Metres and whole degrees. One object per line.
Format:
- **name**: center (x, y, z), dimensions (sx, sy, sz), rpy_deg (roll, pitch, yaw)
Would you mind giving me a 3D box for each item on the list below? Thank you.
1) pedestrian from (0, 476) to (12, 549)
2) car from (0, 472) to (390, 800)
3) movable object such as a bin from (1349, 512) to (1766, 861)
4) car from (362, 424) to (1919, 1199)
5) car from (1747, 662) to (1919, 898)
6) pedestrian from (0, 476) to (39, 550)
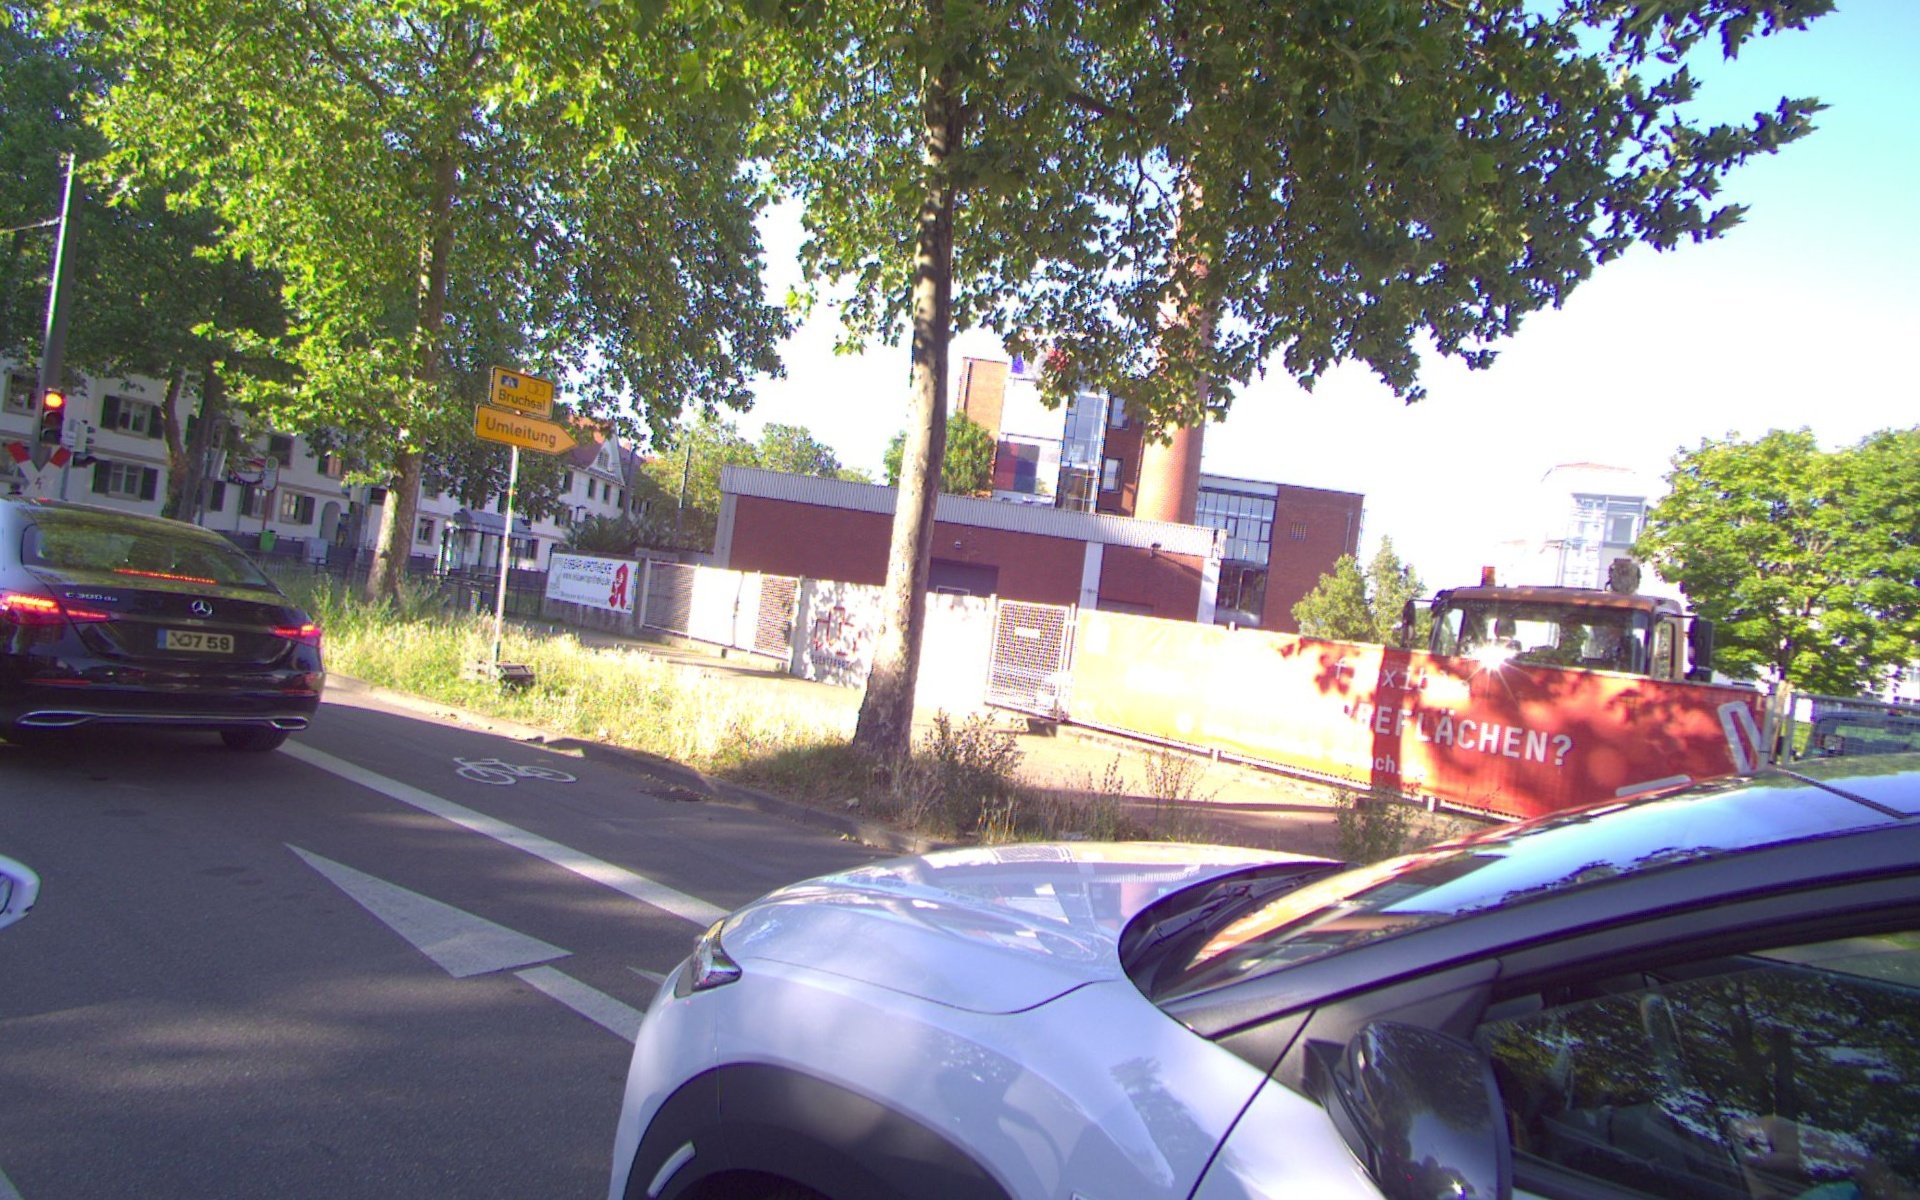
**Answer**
- **pedestrian**: center (-26.115, -2.395, 26.909), dimensions (0.825, 1.940, 0.707), rpy_deg (7, -1, 28)
- **car**: center (-5.949, 0.011, 6.633), dimensions (4.309, 1.508, 1.893), rpy_deg (9, -1, 33)
- **movable object such as a bin**: center (7.647, 1.034, 12.402), dimensions (3.172, 3.084, 6.266), rpy_deg (6, -2, 41)
- **car**: center (1.218, 0.873, 1.328), dimensions (3.901, 1.616, 1.893), rpy_deg (9, -1, 33)
- **car**: center (9.576, 1.825, 10.144), dimensions (2.016, 1.849, 4.583), rpy_deg (6, -3, 44)
- **pedestrian**: center (-26.517, -2.431, 28.129), dimensions (0.825, 1.940, 0.707), rpy_deg (7, -1, 28)
